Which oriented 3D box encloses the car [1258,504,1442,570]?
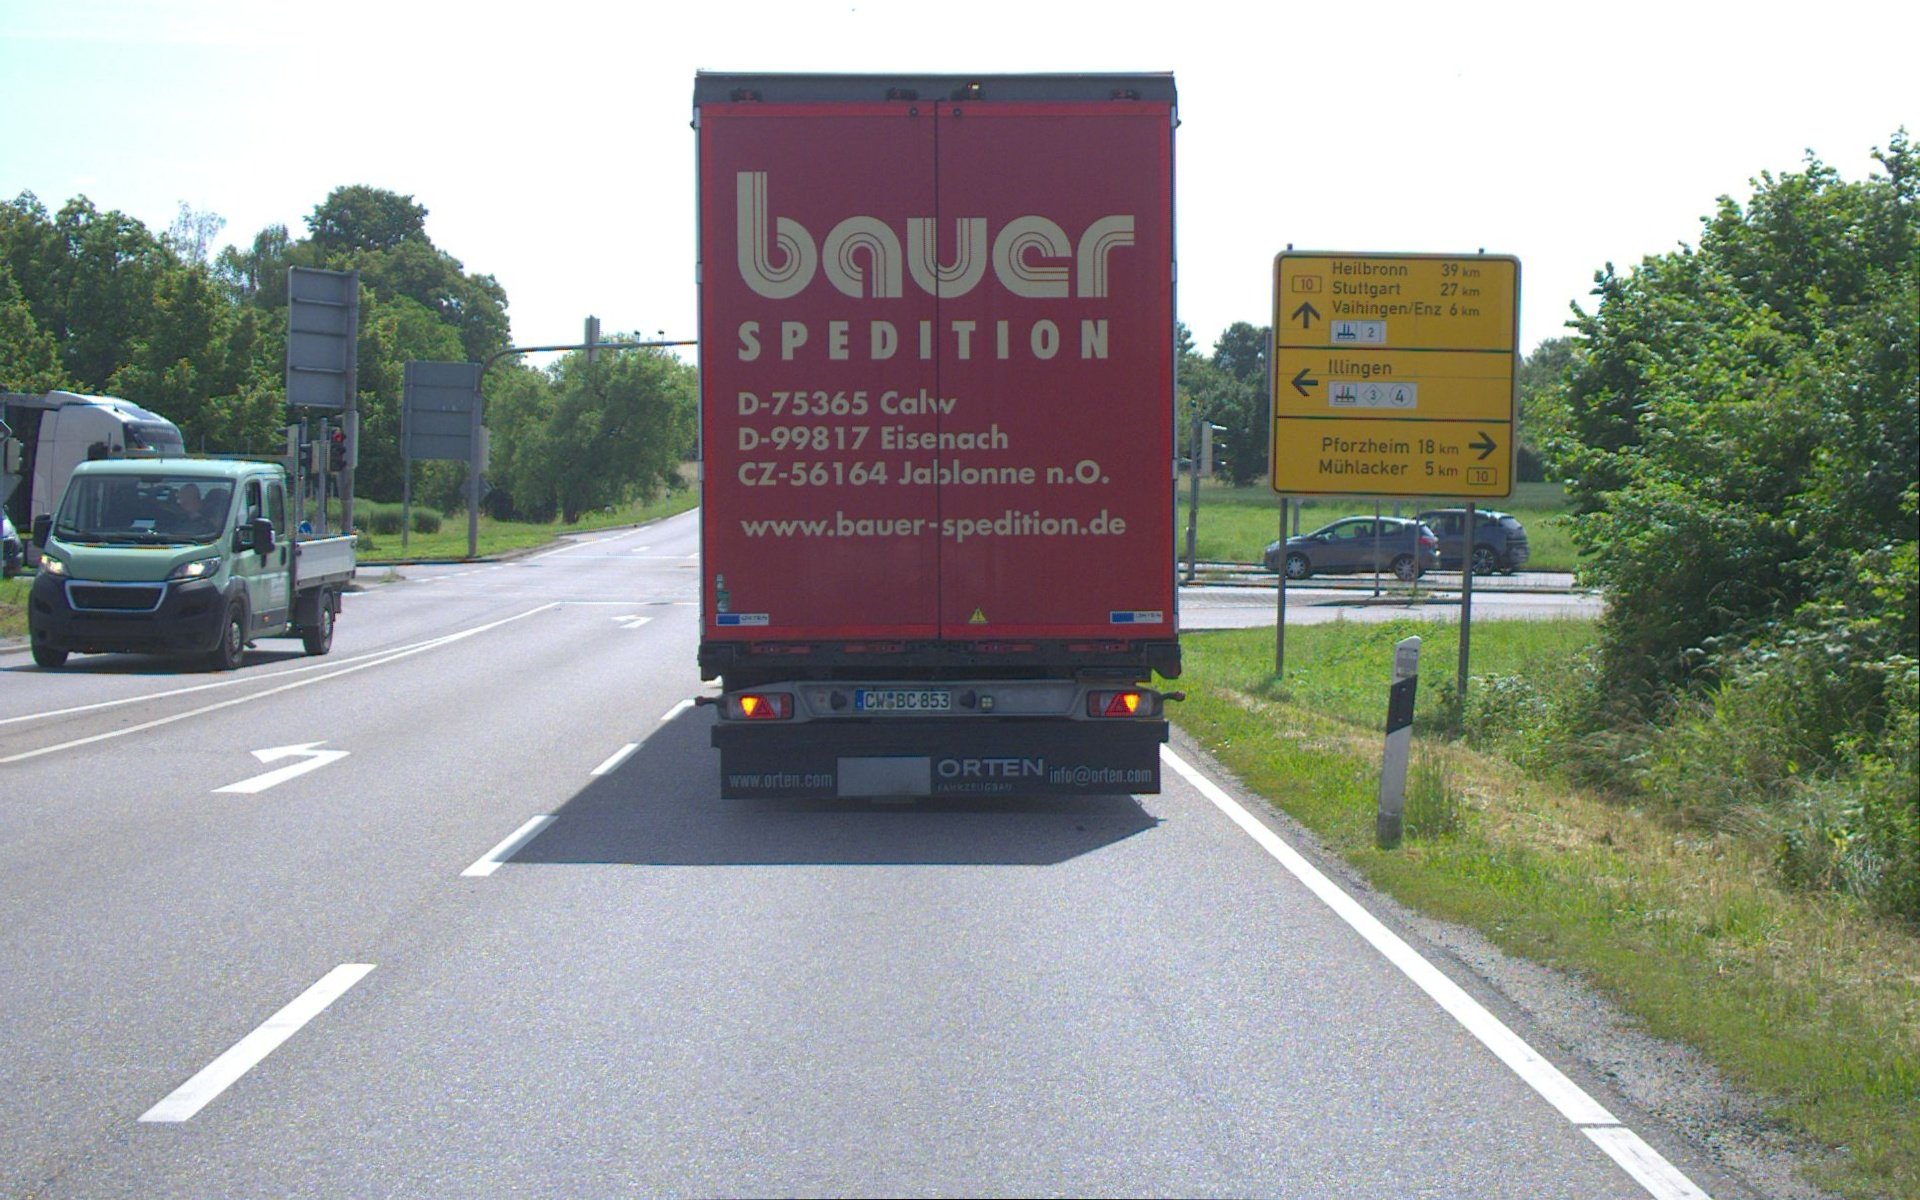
[{"bbox_3d":[8.993,-1.449,79.213,3.989,1.424,1.999,1,1,13],"label":"car"}]

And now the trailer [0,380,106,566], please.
[{"bbox_3d":[-26.243,-2.983,78.210,13.695,4.047,2.796,1,2,16],"label":"trailer"}]

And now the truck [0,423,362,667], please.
[{"bbox_3d":[-8.321,-0.609,37.340,2.242,2.367,6.350,1,1,2],"label":"truck"}]

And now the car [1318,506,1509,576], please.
[{"bbox_3d":[11.058,-1.454,83.906,4.281,1.650,1.697,1,1,32],"label":"car"}]

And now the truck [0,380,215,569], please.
[{"bbox_3d":[-19.826,-2.806,76.229,5.831,4.047,2.796,2,2,18],"label":"truck"}]

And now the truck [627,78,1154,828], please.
[{"bbox_3d":[-0.576,-1.004,26.369,2.734,3.911,16.627,1,2,-1],"label":"truck"}]
